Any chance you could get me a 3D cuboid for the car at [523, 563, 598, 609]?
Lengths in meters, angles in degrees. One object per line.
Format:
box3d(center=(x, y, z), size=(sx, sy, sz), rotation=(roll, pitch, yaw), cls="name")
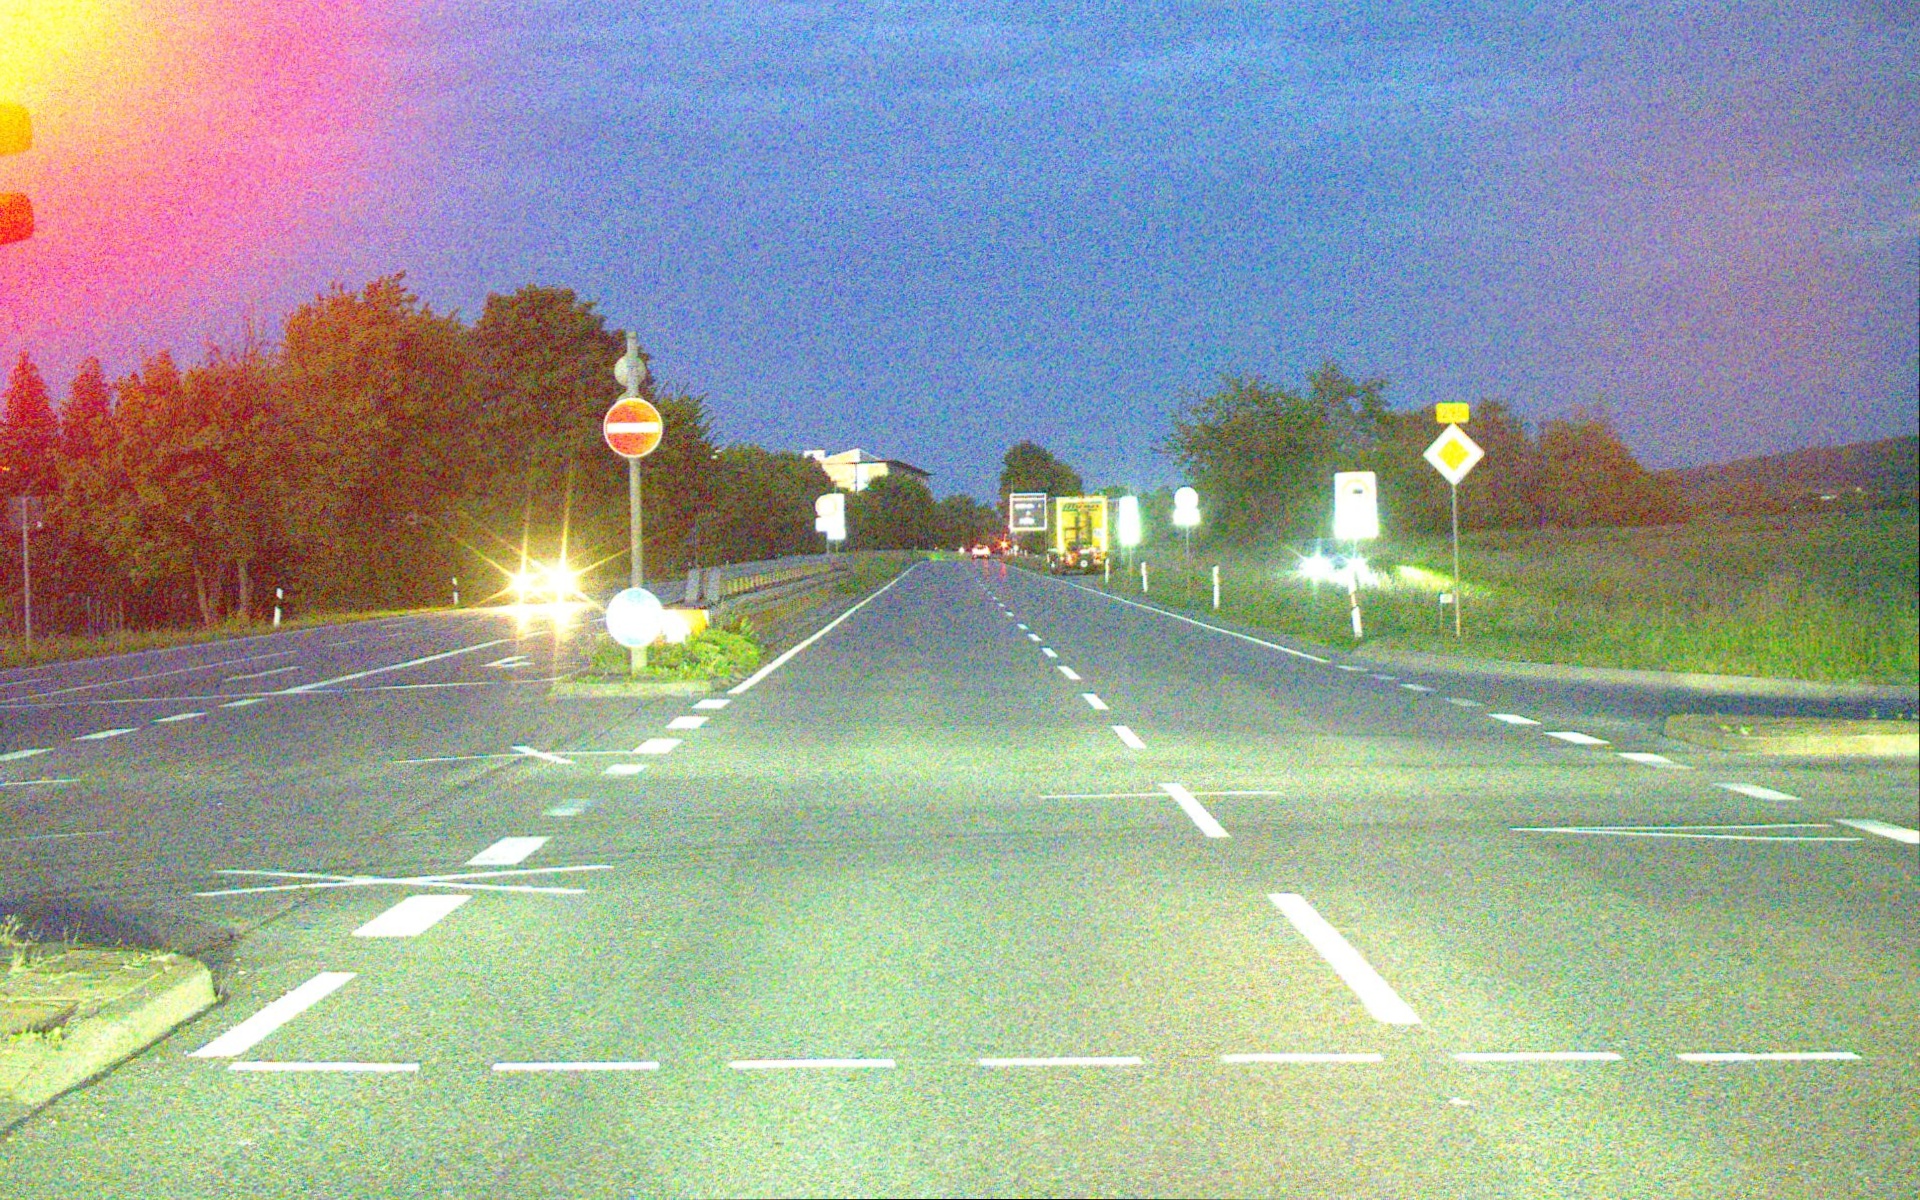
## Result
box3d(center=(-13.038, -0.470, 112.437), size=(1.993, 1.382, 4.000), rotation=(-1, 1, -1), cls="car")
